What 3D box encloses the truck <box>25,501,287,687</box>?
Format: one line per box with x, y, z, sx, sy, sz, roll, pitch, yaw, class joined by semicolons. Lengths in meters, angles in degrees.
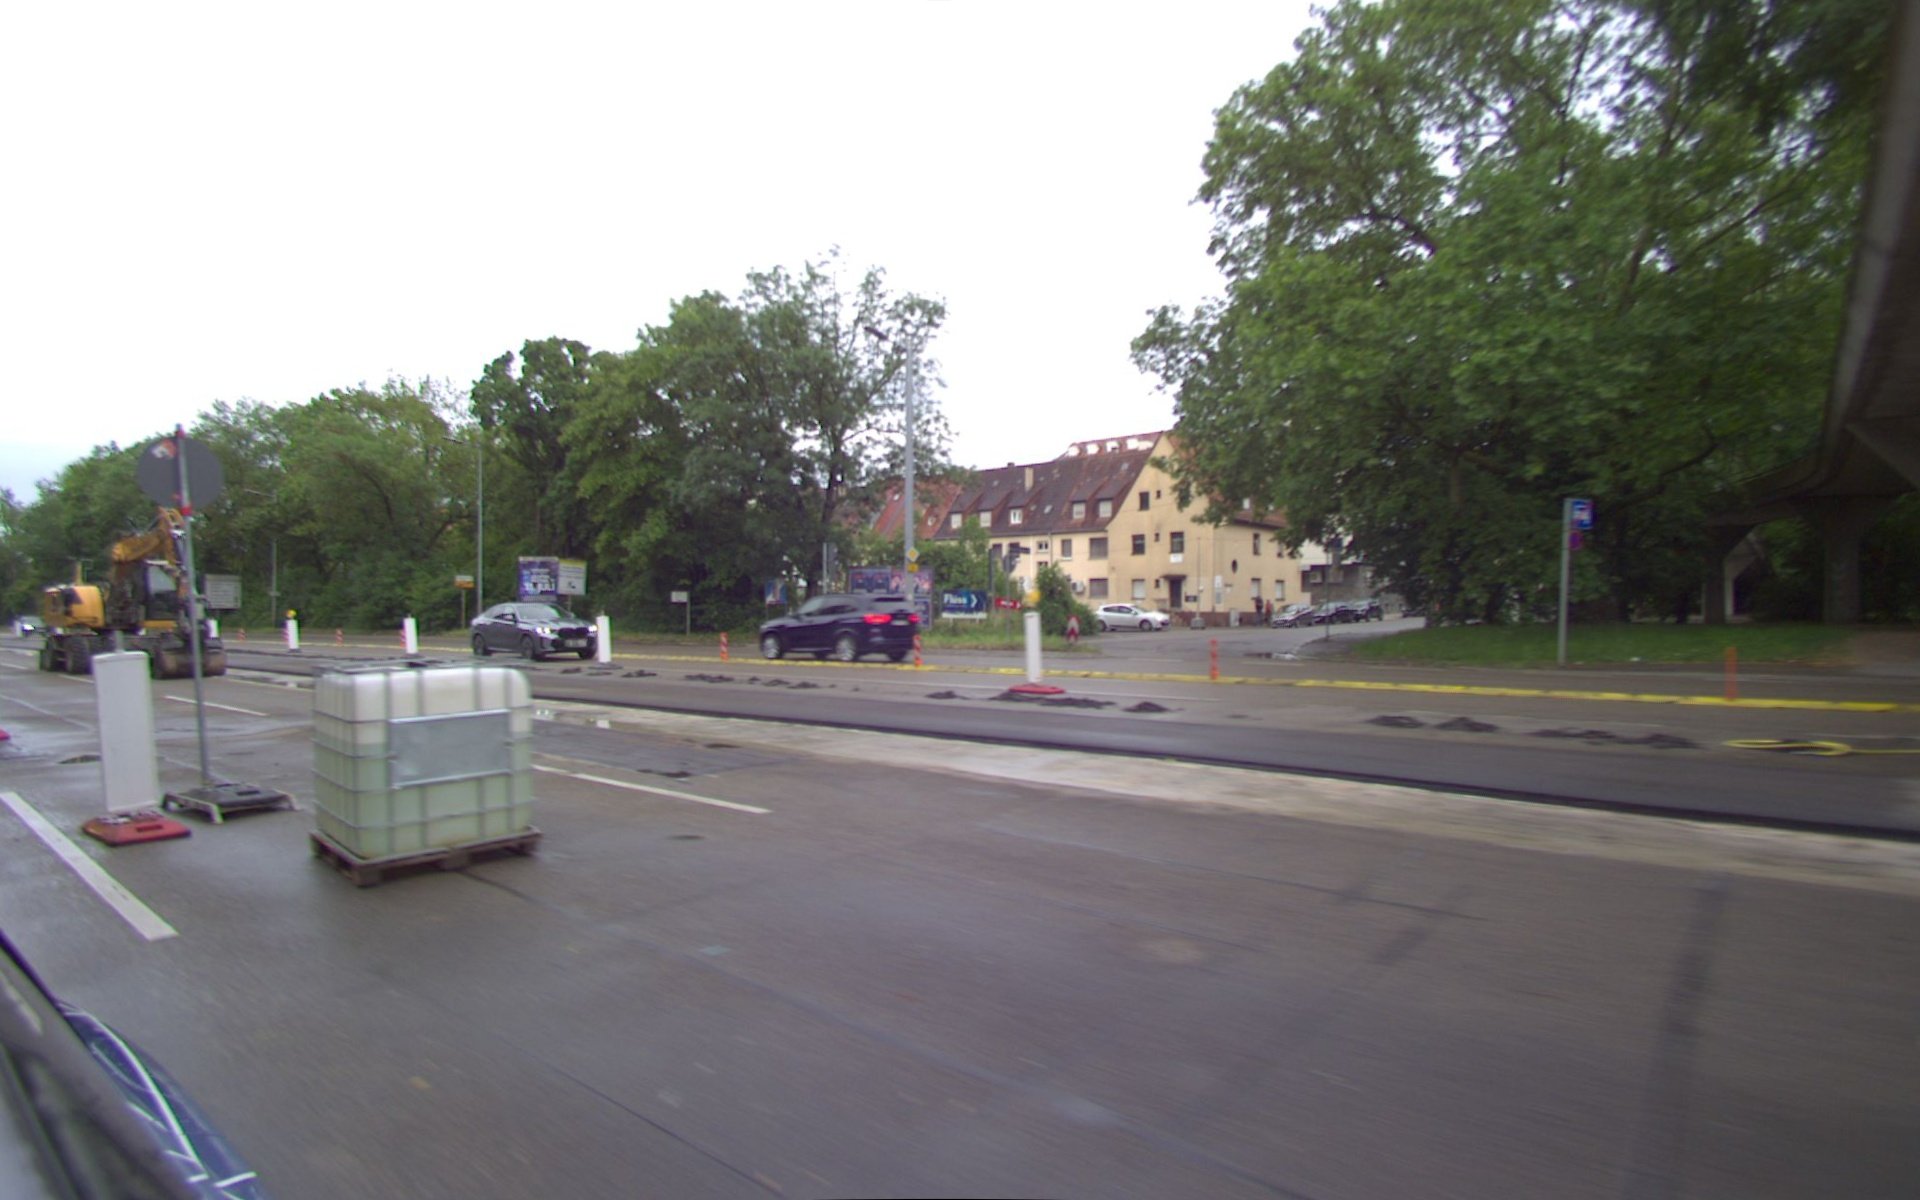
-22.217;-0.032;27.637;10.735;4.291;2.871;-2;-1;36;truck

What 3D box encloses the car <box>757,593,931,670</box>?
-3.066;0.810;26.227;4.607;1.820;1.950;-1;-2;42;car

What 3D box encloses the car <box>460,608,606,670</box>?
-12.557;1.108;29.613;4.808;1.641;1.973;-1;-1;40;car
